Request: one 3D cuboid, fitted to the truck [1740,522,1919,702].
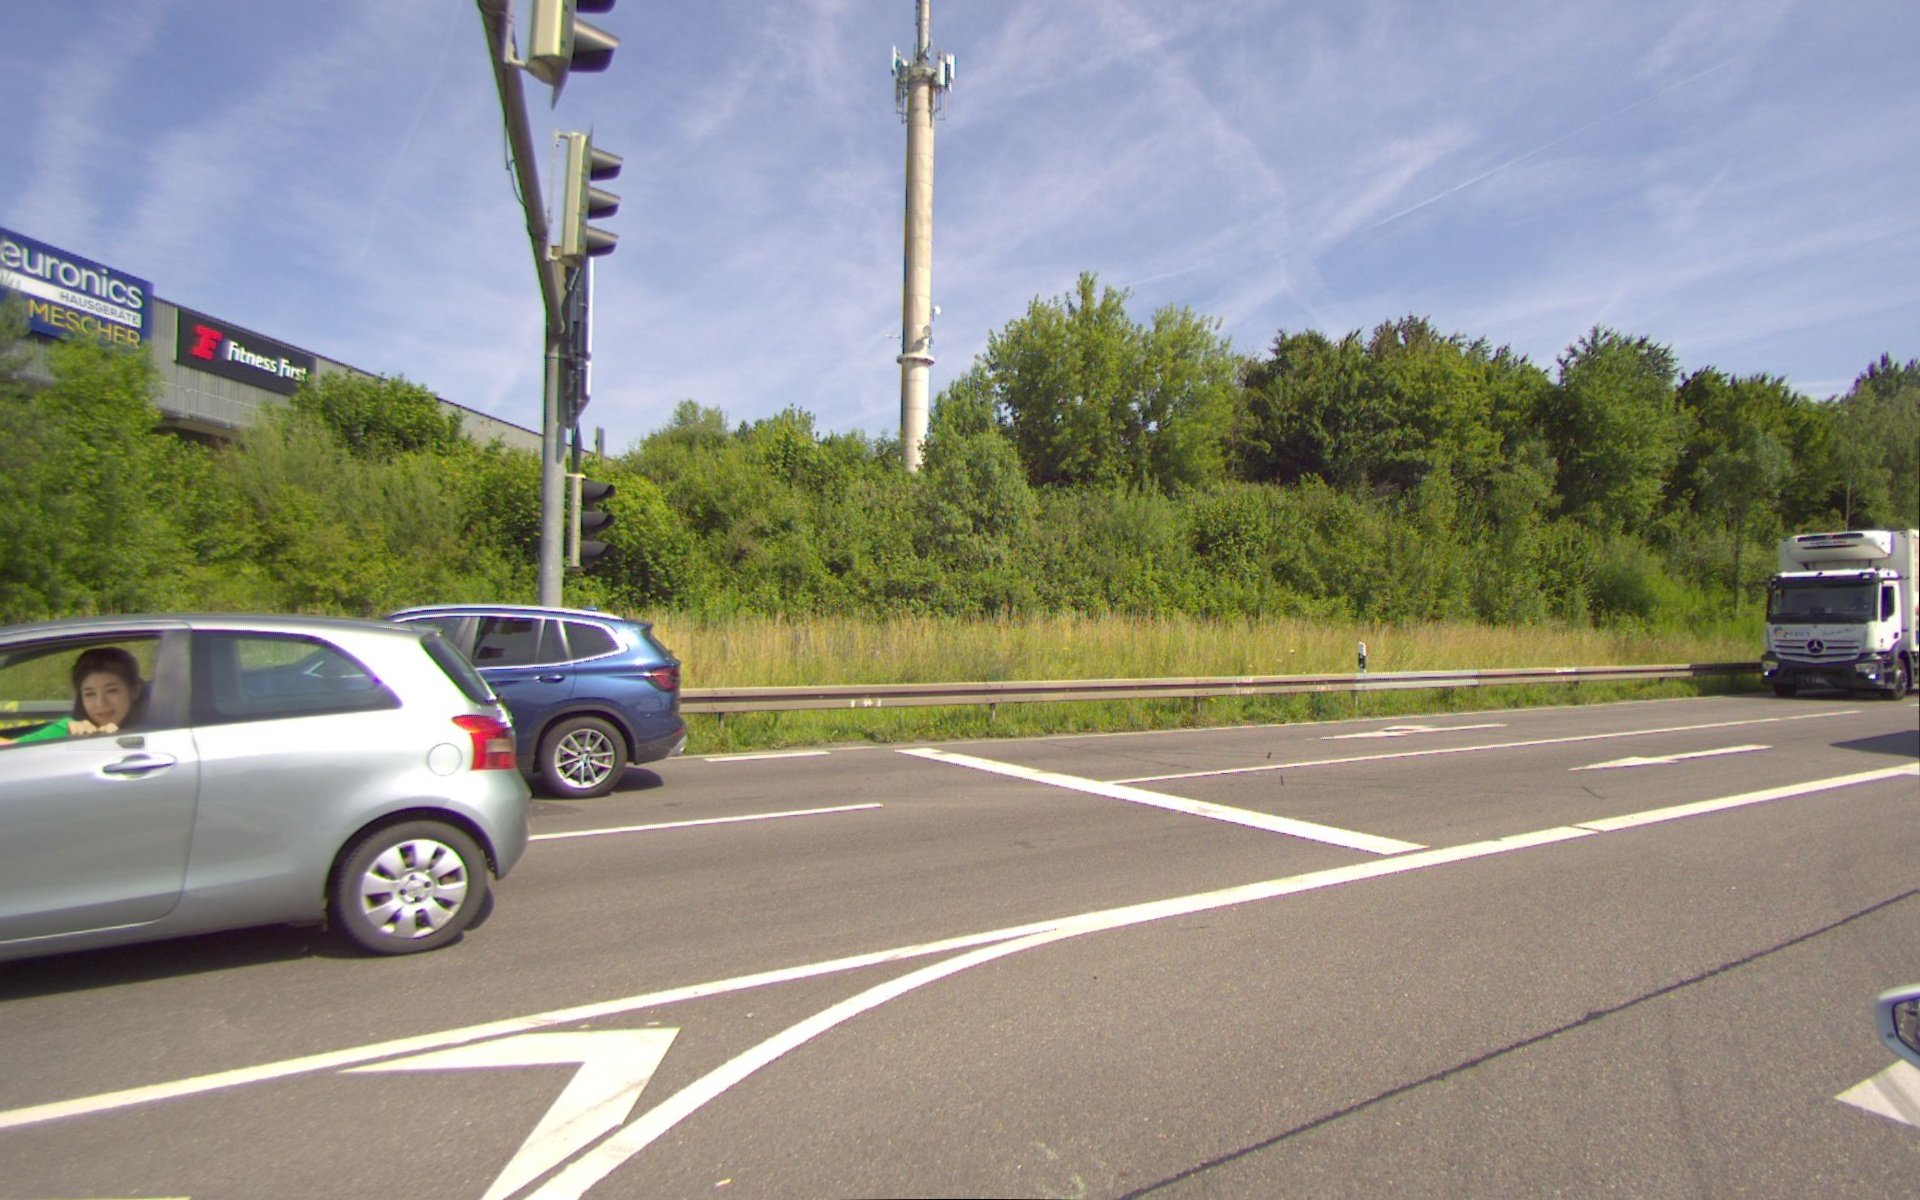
[{"bbox_3d":[24.083,0.411,26.305,9.513,4.051,2.714,2,-2,-32],"label":"truck"}]

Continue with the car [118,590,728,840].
[{"bbox_3d":[-4.439,0.860,8.847,4.260,1.698,1.983,2,-2,-32],"label":"car"}]

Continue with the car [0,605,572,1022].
[{"bbox_3d":[-3.957,0.800,4.409,3.956,1.522,1.716,2,-2,-32],"label":"car"}]
